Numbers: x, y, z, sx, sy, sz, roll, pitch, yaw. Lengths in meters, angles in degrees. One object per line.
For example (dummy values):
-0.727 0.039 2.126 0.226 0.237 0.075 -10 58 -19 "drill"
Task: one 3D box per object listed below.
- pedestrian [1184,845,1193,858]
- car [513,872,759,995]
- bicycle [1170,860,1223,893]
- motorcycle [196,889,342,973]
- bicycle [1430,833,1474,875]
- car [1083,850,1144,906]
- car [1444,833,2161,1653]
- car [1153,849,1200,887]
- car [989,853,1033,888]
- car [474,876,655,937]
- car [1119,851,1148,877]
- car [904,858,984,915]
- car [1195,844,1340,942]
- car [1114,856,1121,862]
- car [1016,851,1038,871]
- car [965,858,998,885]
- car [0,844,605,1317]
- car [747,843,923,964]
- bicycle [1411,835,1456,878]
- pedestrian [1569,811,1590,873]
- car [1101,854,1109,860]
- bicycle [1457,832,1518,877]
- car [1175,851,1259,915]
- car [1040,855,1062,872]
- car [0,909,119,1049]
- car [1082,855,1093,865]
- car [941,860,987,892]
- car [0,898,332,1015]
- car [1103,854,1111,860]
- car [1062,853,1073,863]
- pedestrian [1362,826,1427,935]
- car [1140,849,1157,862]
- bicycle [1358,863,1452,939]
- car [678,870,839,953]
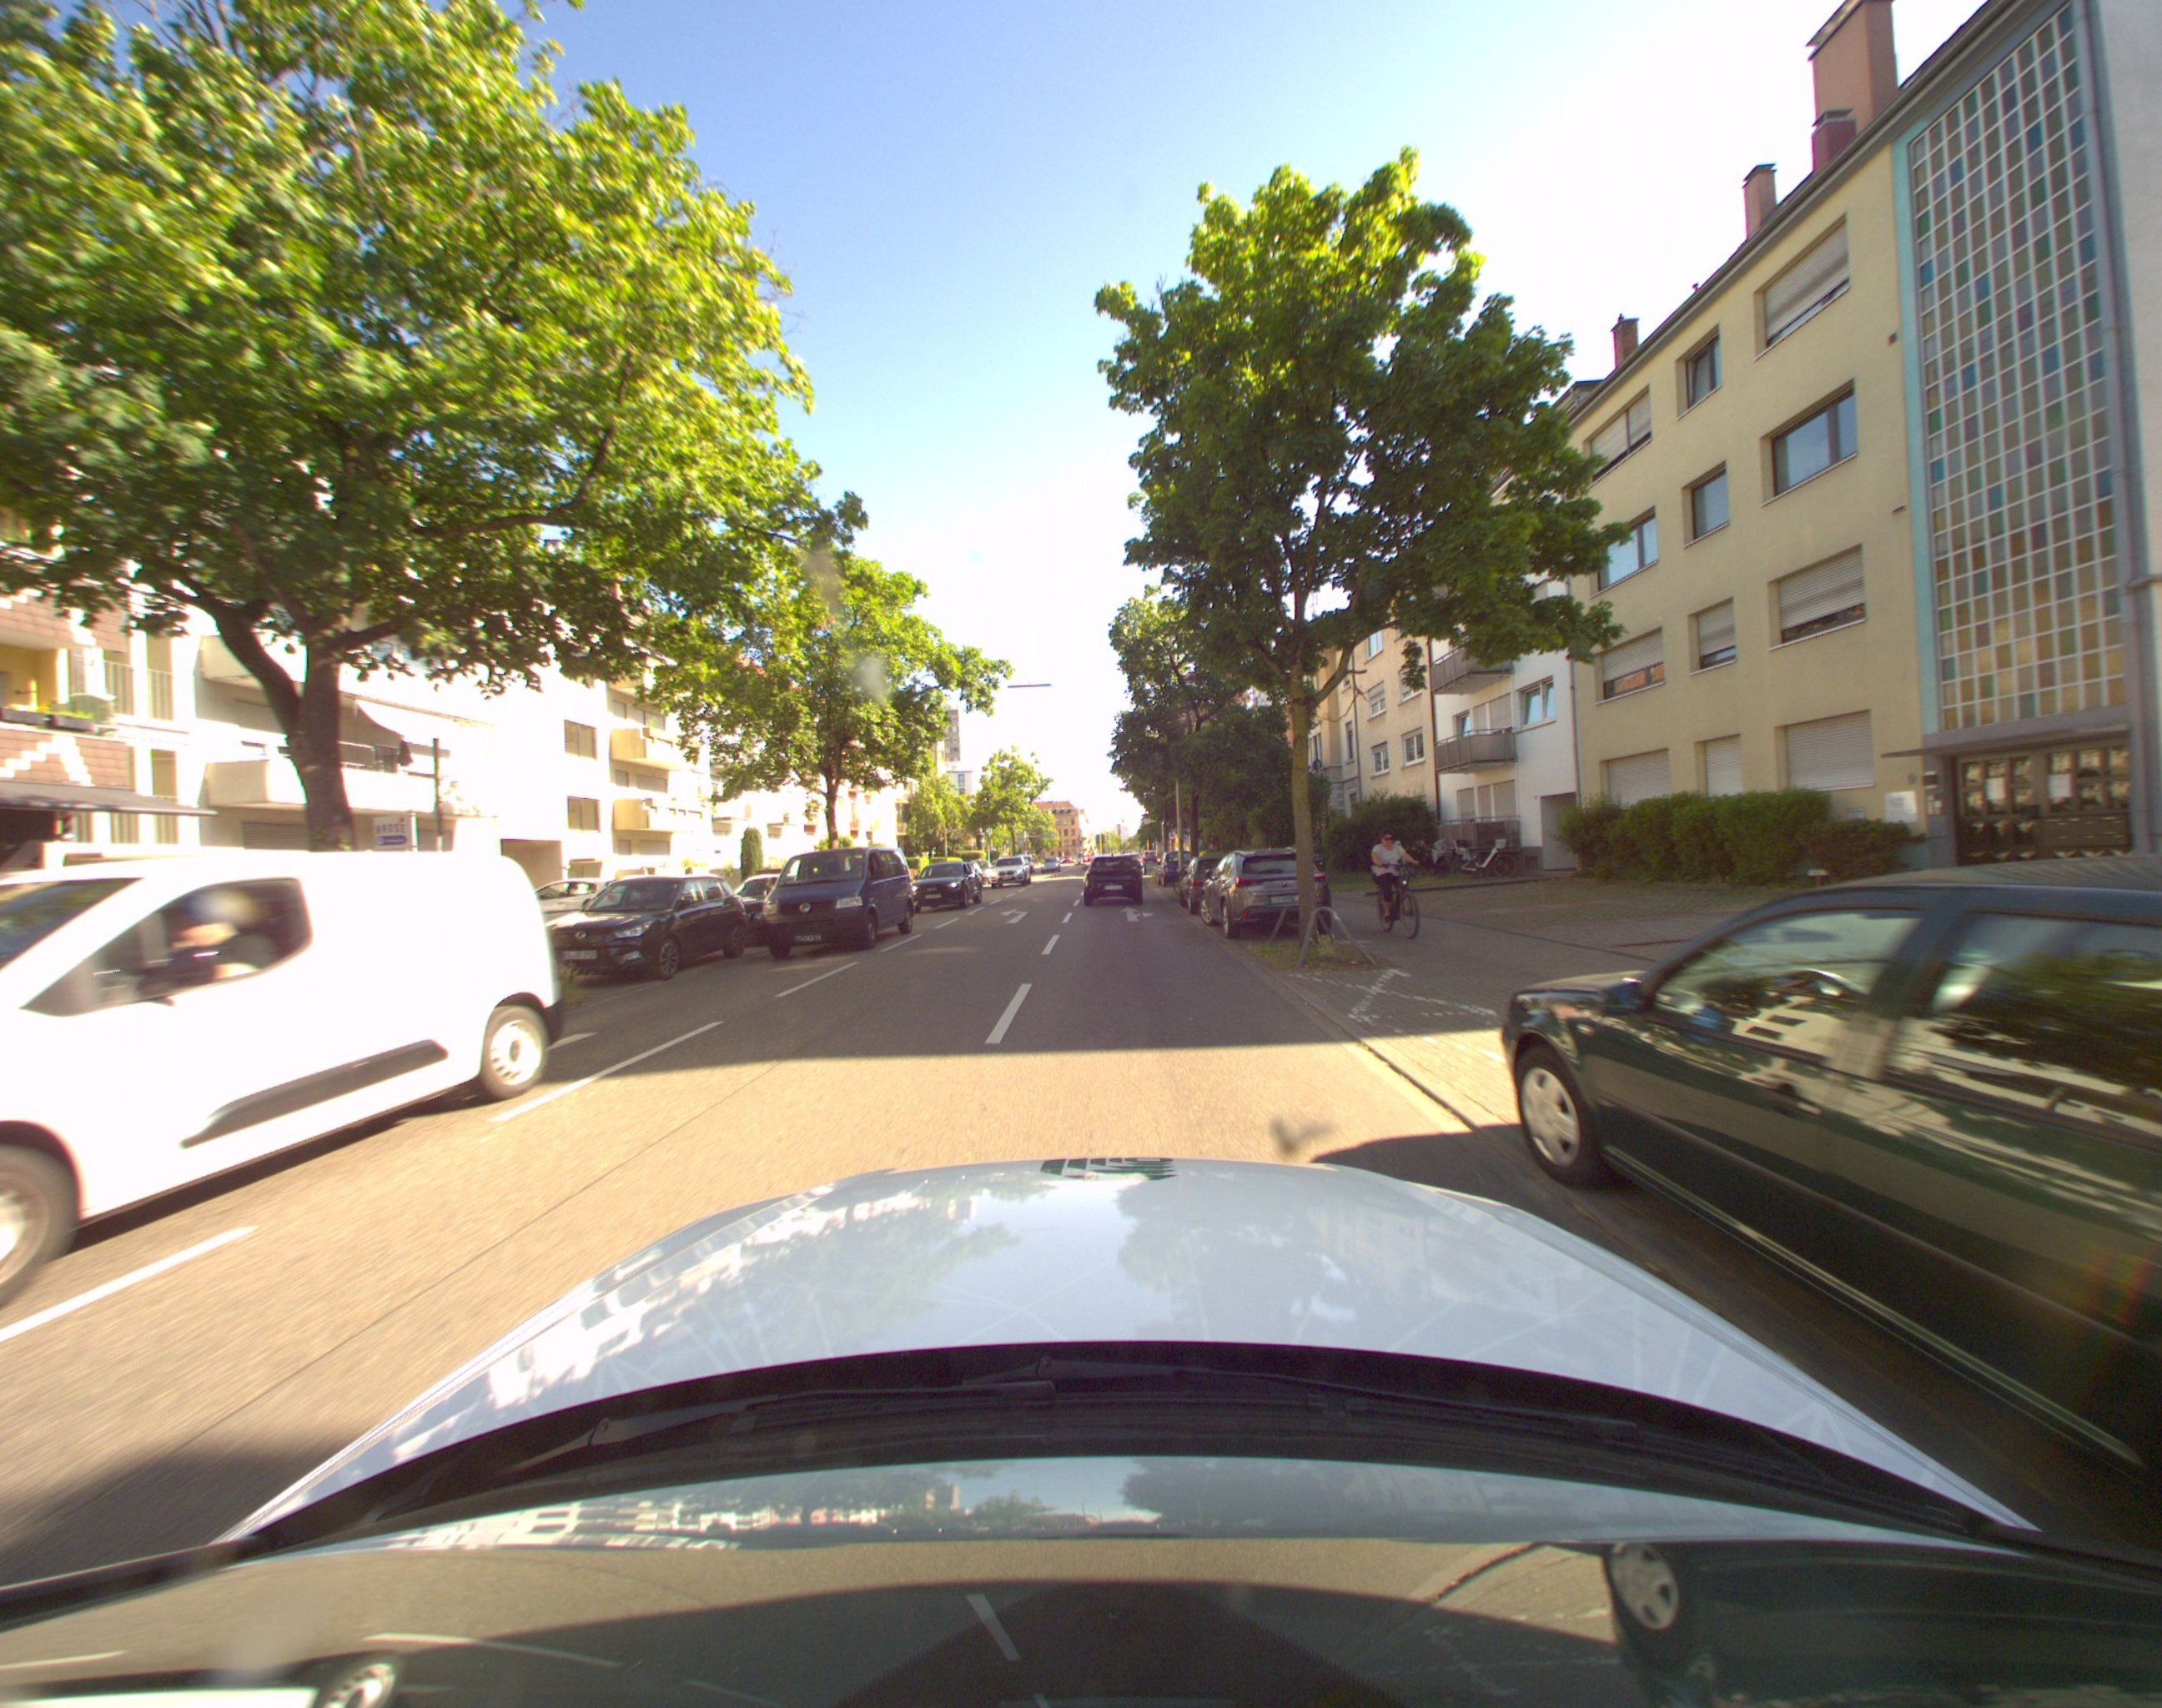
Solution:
14.745 -0.370 111.784 1.038 1.659 0.783 -3 0 -2 "pedestrian"
-7.187 1.180 13.715 1.715 1.596 4.138 -2 0 2 "car"
4.042 0.791 28.498 1.729 1.022 0.525 -5 -3 9 "bicycle"
-15.735 1.482 15.801 2.139 1.486 0.783 -2 0 6 "motorcycle"
12.226 -0.005 26.884 0.589 1.287 1.690 -6 0 2 "bicycle"
1.003 0.703 25.635 1.739 1.573 3.559 -2 0 2 "car"
2.834 0.694 2.520 1.685 1.428 4.150 -4 0 3 "car"
4.234 0.585 36.634 1.554 1.515 3.654 -5 0 0 "car"
-3.777 0.882 44.873 1.800 1.648 4.673 -5 0 1 "car"
-14.958 1.508 23.746 3.973 1.486 1.881 -2 1 1 "car"
3.566 0.651 55.775 1.823 1.578 3.842 -3 0 2 "car"
-4.494 1.015 27.351 1.713 1.566 4.344 -6 0 1 "car"
3.318 0.629 15.310 1.708 1.489 4.234 -4 0 0 "car"
10.443 1.485 231.501 1.853 1.660 4.004 -1 0 3 "car"
-5.448 0.667 81.943 1.813 1.834 4.561 -3 0 0 "car"
-6.242 1.075 51.350 1.671 1.525 3.656 -1 1 -2 "car"
-4.915 0.909 4.418 1.809 1.742 4.494 -5 0 1 "car"
-4.673 0.834 16.306 1.796 1.910 4.713 -5 0 2 "car"
11.543 0.076 26.746 0.620 1.287 1.843 -6 0 2 "bicycle"
13.953 -0.329 22.801 0.364 1.737 0.365 0 0 -5 "pedestrian"
5.696 0.654 196.709 1.804 1.407 4.001 -3 0 1 "car"
12.450 0.017 24.943 1.520 1.222 0.466 -6 0 32 "bicycle"
3.420 0.670 21.097 1.605 1.383 3.978 -4 0 2 "car"
-2.803 0.874 76.302 1.731 1.381 3.937 -4 1 1 "car"
-13.713 1.473 9.593 3.954 1.456 1.742 -2 1 19 "car"
1.093 0.996 138.391 1.765 1.452 3.887 -3 0 2 "car"
-6.371 1.145 44.776 1.779 1.493 4.493 -3 1 1 "car"
-13.899 1.500 12.257 3.962 1.461 1.738 -2 1 10 "car"
6.841 0.822 211.076 1.985 1.519 4.004 -1 0 3 "car"
-2.489 0.683 149.229 1.784 1.617 4.003 -3 0 2 "car"
5.080 0.424 13.240 0.667 1.682 0.776 -3 0 1 "pedestrian"
8.283 0.178 99.883 1.823 1.452 3.990 -3 0 2 "car"
5.182 0.713 13.185 0.679 1.069 2.128 -3 0 2 "bicycle"
-7.275 1.229 18.976 1.715 1.535 4.682 -2 0 2 "car"
